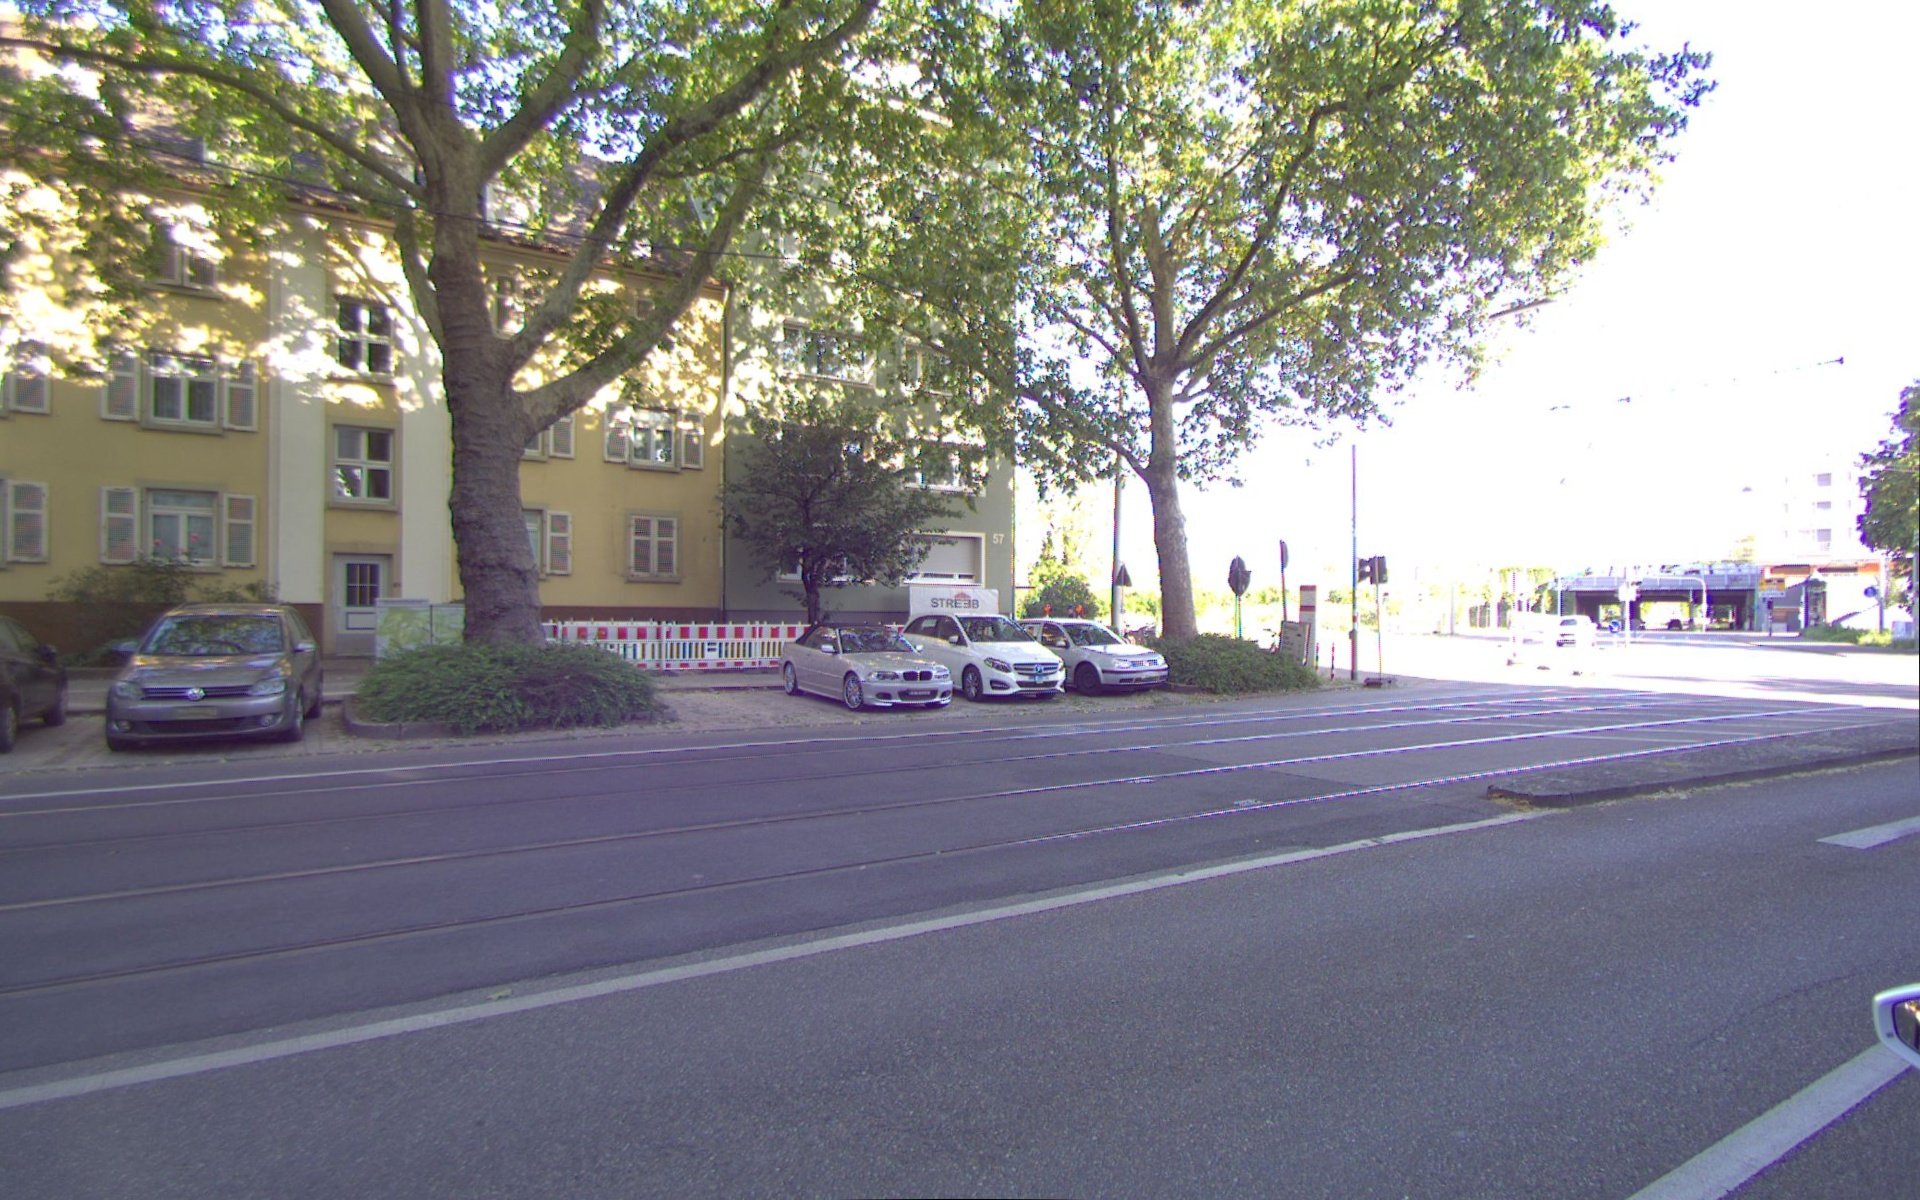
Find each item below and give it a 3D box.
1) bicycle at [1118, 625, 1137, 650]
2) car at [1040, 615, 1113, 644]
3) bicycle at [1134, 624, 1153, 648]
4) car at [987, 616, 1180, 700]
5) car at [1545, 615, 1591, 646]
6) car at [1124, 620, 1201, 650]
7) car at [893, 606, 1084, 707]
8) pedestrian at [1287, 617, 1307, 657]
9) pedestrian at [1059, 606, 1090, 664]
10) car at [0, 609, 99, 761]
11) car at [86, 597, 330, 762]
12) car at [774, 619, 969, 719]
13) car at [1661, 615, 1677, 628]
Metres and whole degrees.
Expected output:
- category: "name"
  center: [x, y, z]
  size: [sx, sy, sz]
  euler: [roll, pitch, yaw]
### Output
- category: "bicycle"
  center: [5.398, 1.203, 32.367]
  size: [0.351, 0.769, 1.781]
  euler: [0, -1, 18]
- category: "car"
  center: [7.055, 1.758, 61.049]
  size: [3.933, 1.439, 1.887]
  euler: [0, 5, 35]
- category: "bicycle"
  center: [6.289, 1.226, 34.476]
  size: [0.351, 0.769, 1.781]
  euler: [0, -1, 1]
- category: "car"
  center: [2.418, 1.122, 20.563]
  size: [1.688, 1.436, 3.960]
  euler: [2, 0, -36]
- category: "car"
  center: [33.579, 1.663, 55.588]
  size: [1.964, 1.653, 4.623]
  euler: [0, -1, 29]
- category: "car"
  center: [11.619, 1.998, 57.729]
  size: [3.933, 1.439, 1.887]
  euler: [0, 5, 35]
- category: "car"
  center: [0.417, 0.990, 19.180]
  size: [1.822, 1.633, 4.052]
  euler: [2, 0, -29]
- category: "pedestrian"
  center: [13.854, 1.503, 41.313]
  size: [0.591, 1.617, 0.682]
  euler: [2, 0, 35]
- category: "pedestrian"
  center: [3.190, 0.963, 28.026]
  size: [0.592, 1.589, 0.741]
  euler: [0, 0, 33]
- category: "car"
  center: [-11.401, 0.870, 11.424]
  size: [1.673, 1.466, 3.834]
  euler: [2, 0, -29]
- category: "car"
  center: [-8.964, 0.820, 12.335]
  size: [1.822, 1.641, 4.052]
  euler: [2, 0, -29]
- category: "car"
  center: [-1.647, 1.093, 17.290]
  size: [1.822, 1.387, 4.052]
  euler: [2, 0, -29]
- category: "car"
  center: [120.108, 3.667, 170.188]
  size: [1.966, 2.040, 3.989]
  euler: [2, 0, 34]
